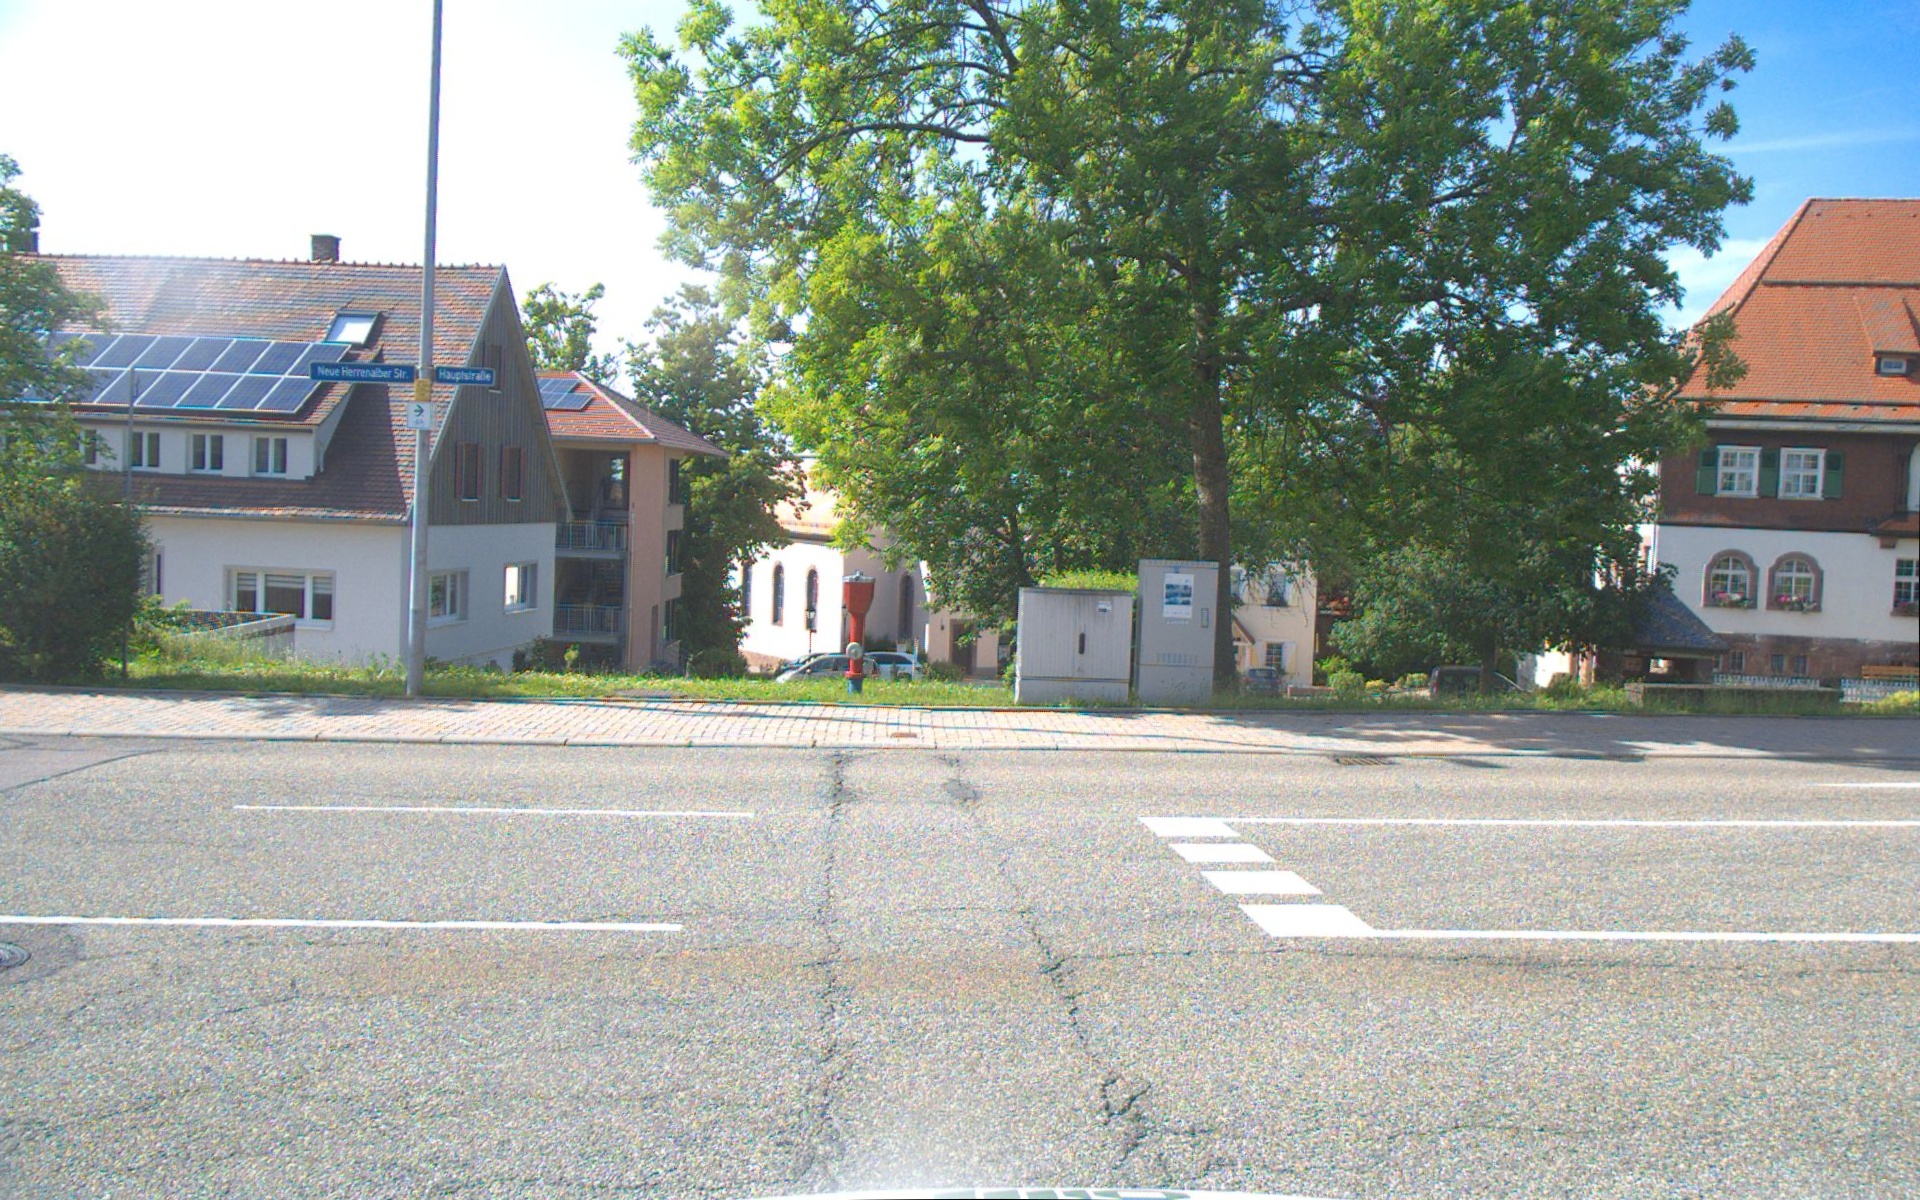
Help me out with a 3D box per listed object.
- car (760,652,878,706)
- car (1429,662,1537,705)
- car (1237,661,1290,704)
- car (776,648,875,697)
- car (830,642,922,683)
[{"bbox_3d":[-4.895,2.732,57.523,4.011,1.789,1.711,1,-1,-6],"label":"car"},{"bbox_3d":[19.486,3.096,61.772,3.692,1.470,1.715,1,-1,11],"label":"car"},{"bbox_3d":[12.451,3.381,68.068,1.672,1.569,3.787,1,0,3],"label":"car"},{"bbox_3d":[-5.164,2.775,63.343,3.700,1.789,1.711,1,-1,-7],"label":"car"},{"bbox_3d":[-3.480,2.573,68.393,3.700,1.621,1.711,1,-1,-7],"label":"car"}]
